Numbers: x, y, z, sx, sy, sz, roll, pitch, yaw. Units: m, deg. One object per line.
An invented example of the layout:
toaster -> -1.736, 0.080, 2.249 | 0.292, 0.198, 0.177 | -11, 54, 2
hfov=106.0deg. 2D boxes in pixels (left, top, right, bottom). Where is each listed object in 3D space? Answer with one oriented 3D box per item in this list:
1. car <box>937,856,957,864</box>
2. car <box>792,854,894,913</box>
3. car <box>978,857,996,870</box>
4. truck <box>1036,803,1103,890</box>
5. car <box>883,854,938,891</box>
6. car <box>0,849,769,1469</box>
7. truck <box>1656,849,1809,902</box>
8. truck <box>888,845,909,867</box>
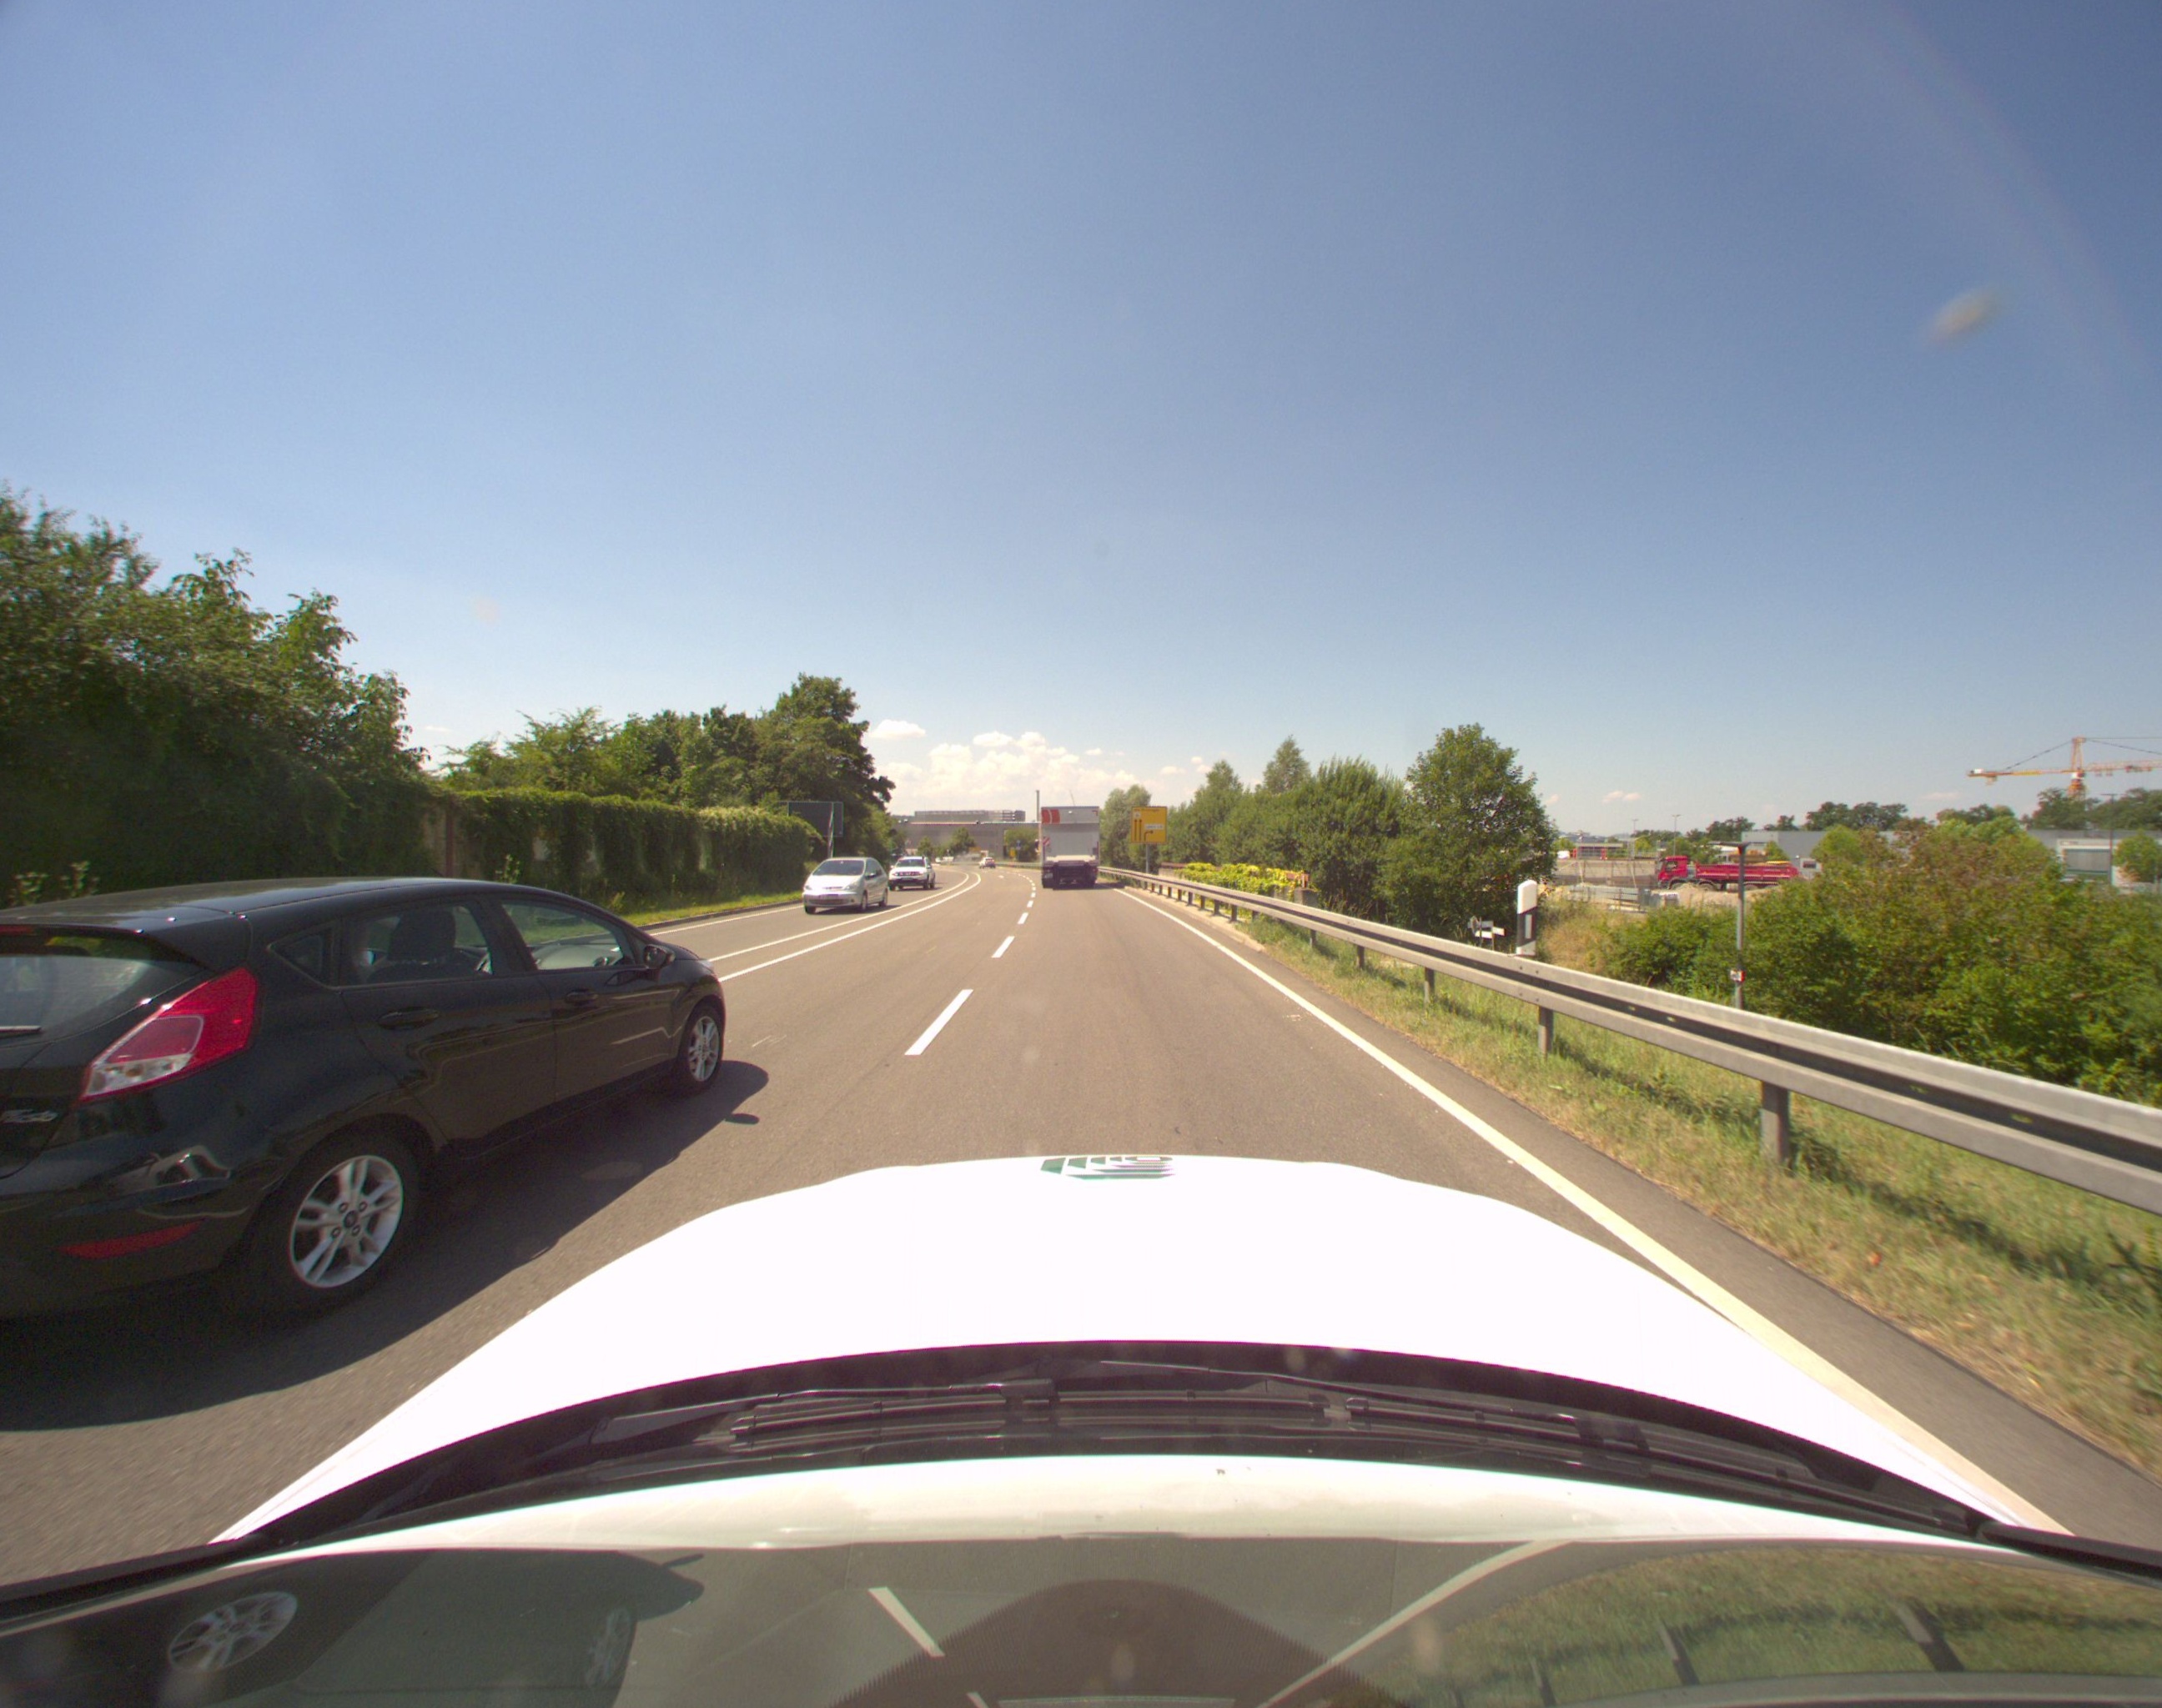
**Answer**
car -> -34.212, 1.585, 208.117 | 4.731, 1.932, 2.153 | -1, 0, -1
car -> -7.013, 0.813, 24.556 | 1.832, 1.593, 4.812 | 0, 0, -2
car -> -13.025, 1.278, 112.752 | 1.946, 1.664, 3.981 | 2, -1, -14
truck -> -0.384, -0.337, 39.544 | 2.793, 3.710, 9.111 | -1, 0, 2
car -> -8.199, 0.840, 39.488 | 1.990, 1.629, 4.190 | -1, 0, -4
car -> -3.261, 0.749, 4.123 | 1.647, 1.493, 4.209 | 0, 1, 1
truck -> 52.048, 1.627, 65.421 | 9.299, 3.683, 3.151 | 3, 2, 38
truck -> -31.519, 0.380, 140.550 | 2.875, 3.574, 9.379 | -1, 0, -16
